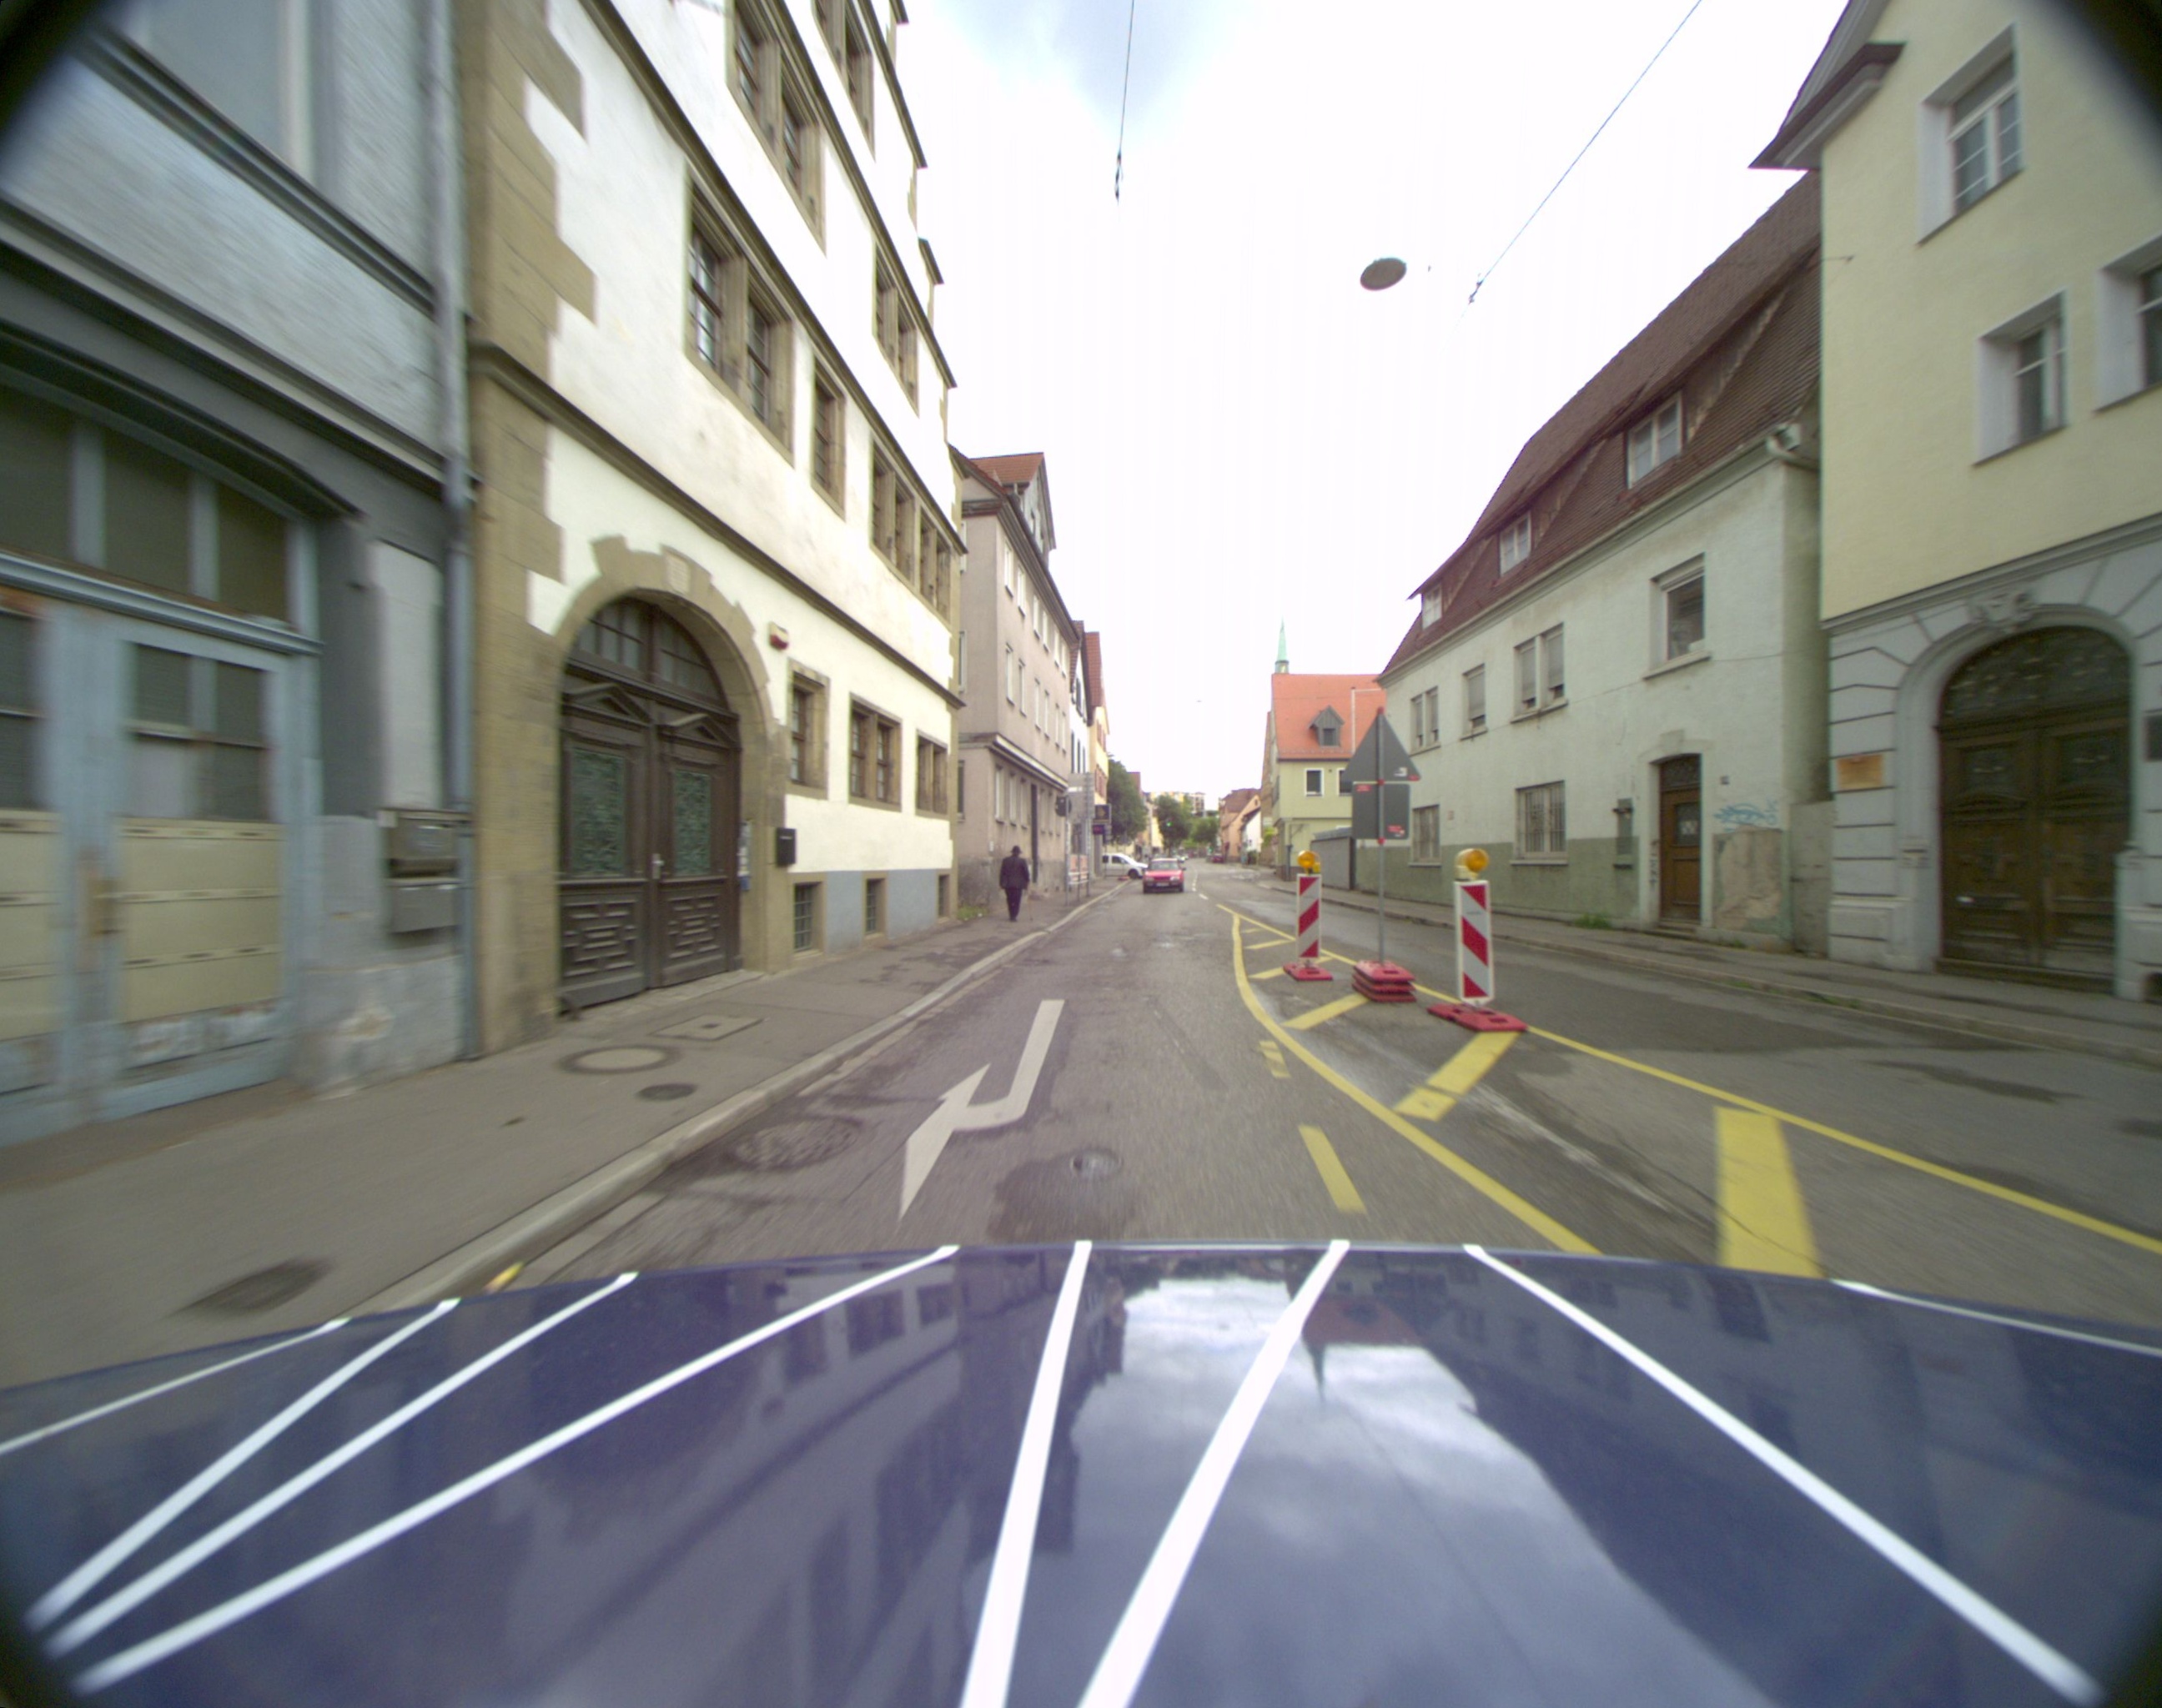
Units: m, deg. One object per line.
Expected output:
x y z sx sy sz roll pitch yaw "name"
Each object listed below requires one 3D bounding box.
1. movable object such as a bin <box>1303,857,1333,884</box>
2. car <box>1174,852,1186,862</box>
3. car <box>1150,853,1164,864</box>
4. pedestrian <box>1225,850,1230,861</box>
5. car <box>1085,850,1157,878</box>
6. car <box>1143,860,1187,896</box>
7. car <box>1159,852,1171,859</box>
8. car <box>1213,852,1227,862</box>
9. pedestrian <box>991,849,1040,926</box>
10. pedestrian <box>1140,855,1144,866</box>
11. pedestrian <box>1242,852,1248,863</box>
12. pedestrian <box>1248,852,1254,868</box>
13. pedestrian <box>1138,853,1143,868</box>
13.148 0.891 42.198 1.311 1.467 1.100 -1 0 -2 "movable object such as a bin"
16.718 0.478 128.540 1.997 1.668 4.002 -1 1 8 "car"
11.712 0.701 117.269 2.032 1.546 4.002 1 0 7 "car"
27.147 0.283 140.546 0.836 2.002 0.845 0 0 6 "pedestrian"
2.724 0.632 51.454 4.457 1.777 2.002 1 1 18 "car"
3.666 0.988 32.635 1.684 1.418 4.024 -1 0 9 "car"
15.314 0.253 138.541 1.820 1.380 4.003 1 0 10 "car"
24.183 0.458 132.233 2.212 1.668 4.500 1 0 6 "car"
-1.458 0.721 17.084 0.833 1.646 0.945 2 1 8 "pedestrian"
8.220 0.865 102.149 0.599 1.435 0.772 1 1 5 "pedestrian"
22.614 0.491 104.715 0.637 1.597 0.712 1 1 8 "pedestrian"
23.308 0.817 104.314 0.758 2.109 0.783 -1 0 8 "pedestrian"
8.484 0.920 109.187 0.660 2.102 0.646 1 0 6 "pedestrian"
